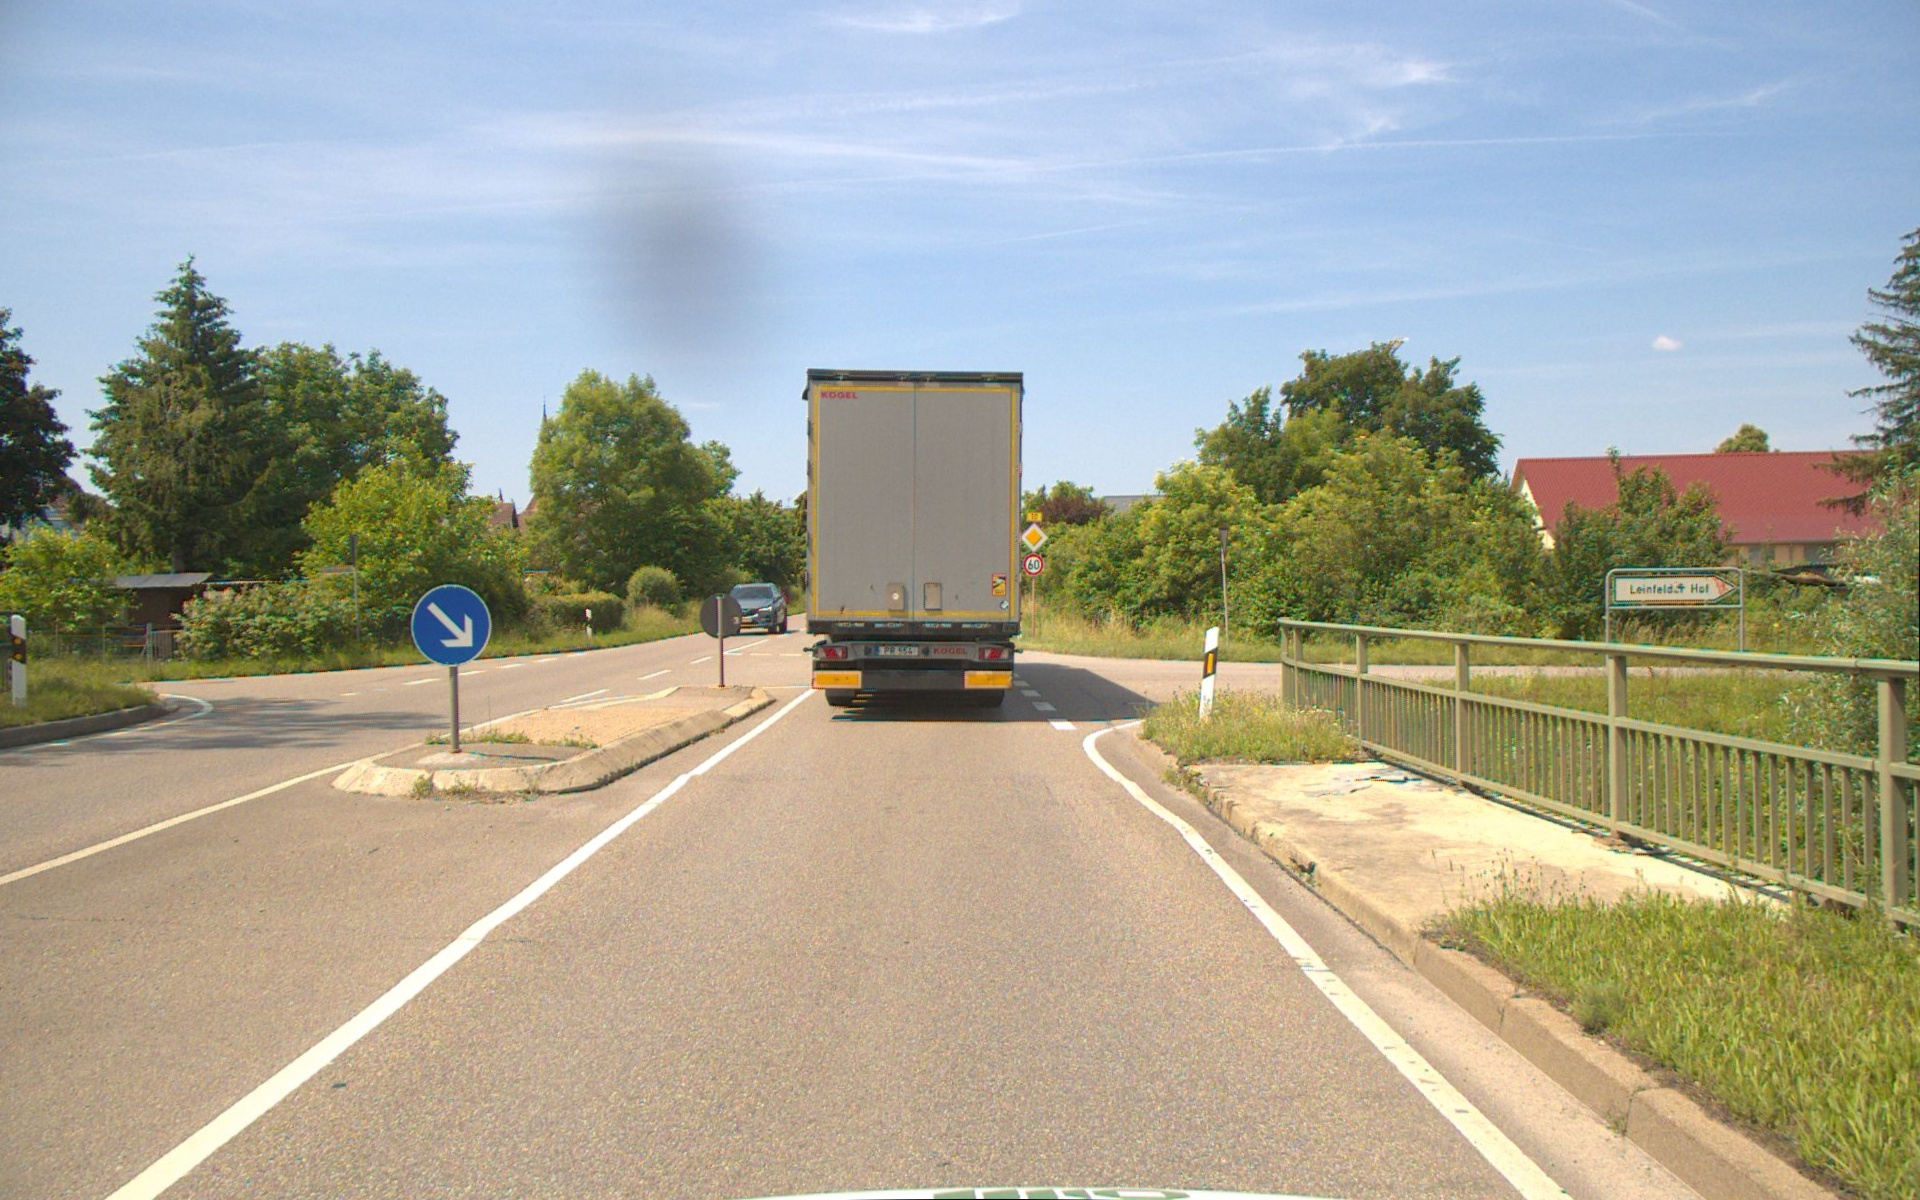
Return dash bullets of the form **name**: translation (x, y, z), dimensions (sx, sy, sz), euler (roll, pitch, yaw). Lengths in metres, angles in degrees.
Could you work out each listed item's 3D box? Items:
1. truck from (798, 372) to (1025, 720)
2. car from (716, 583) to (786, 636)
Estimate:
- **truck**: translation (-0.756, -0.654, 23.406), dimensions (2.594, 3.985, 8.820), euler (0, 0, -3)
- **car**: translation (-6.935, 0.294, 55.232), dimensions (1.909, 1.683, 4.430), euler (-1, 0, -2)
